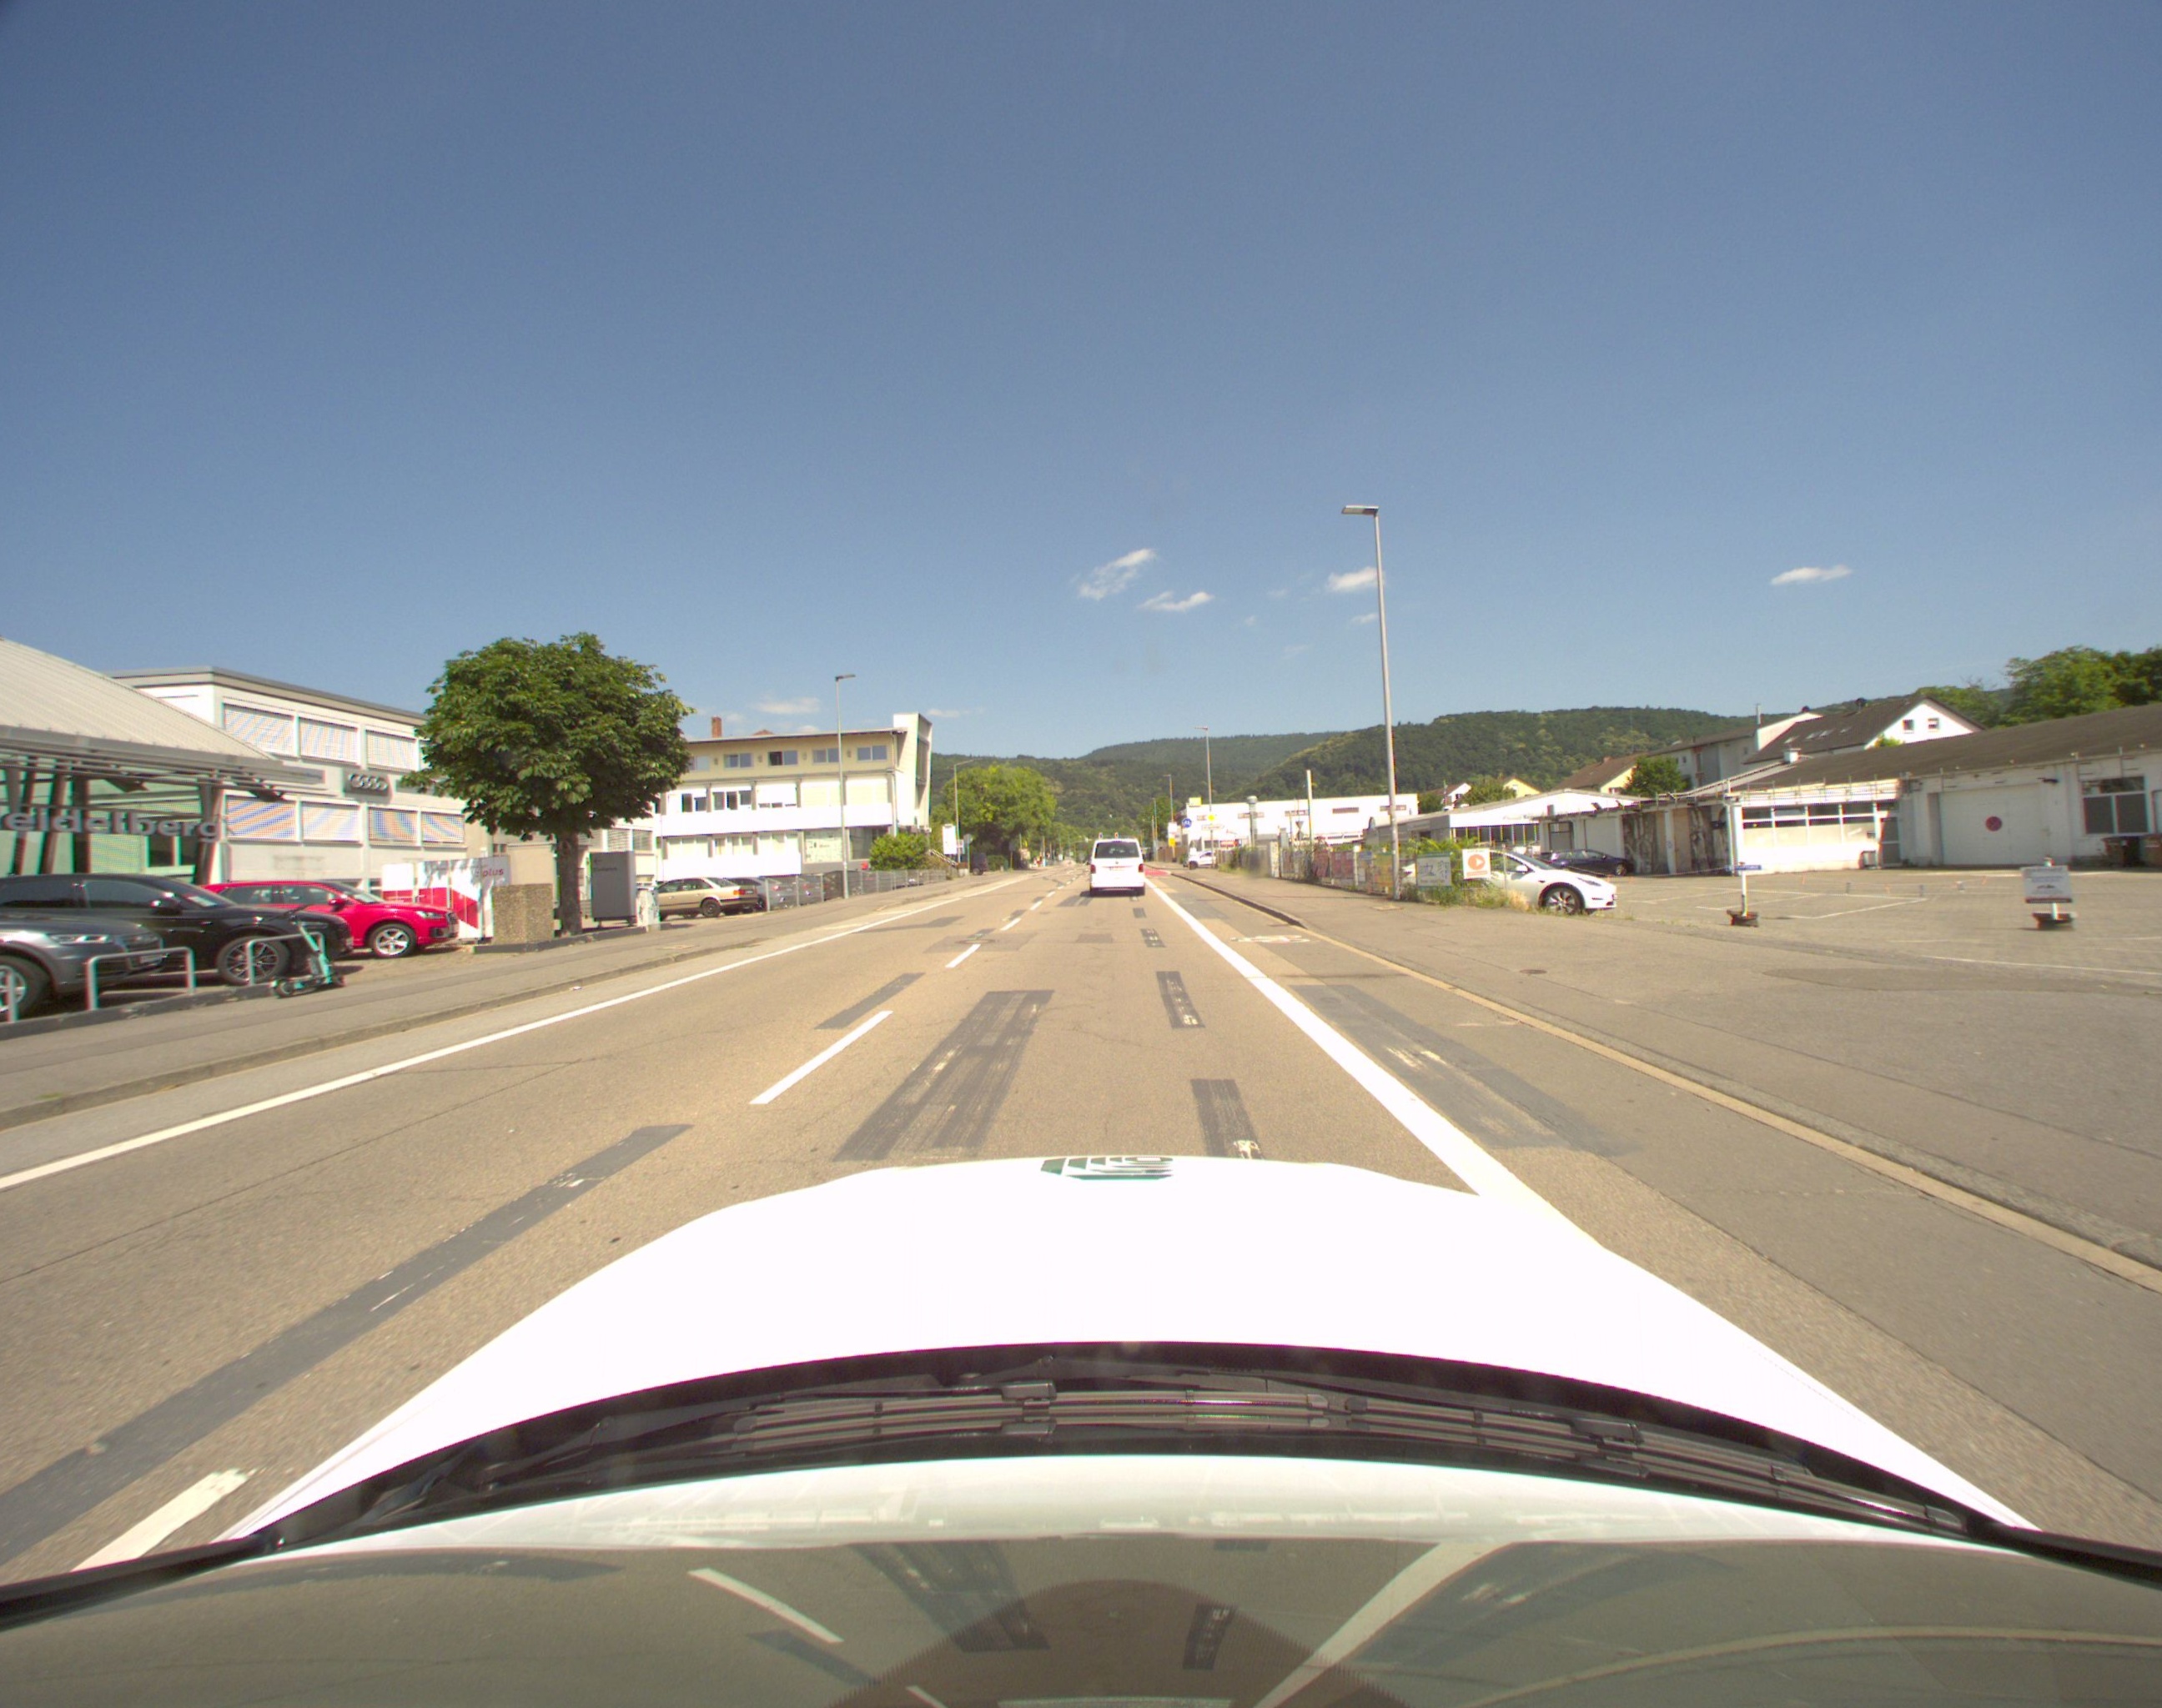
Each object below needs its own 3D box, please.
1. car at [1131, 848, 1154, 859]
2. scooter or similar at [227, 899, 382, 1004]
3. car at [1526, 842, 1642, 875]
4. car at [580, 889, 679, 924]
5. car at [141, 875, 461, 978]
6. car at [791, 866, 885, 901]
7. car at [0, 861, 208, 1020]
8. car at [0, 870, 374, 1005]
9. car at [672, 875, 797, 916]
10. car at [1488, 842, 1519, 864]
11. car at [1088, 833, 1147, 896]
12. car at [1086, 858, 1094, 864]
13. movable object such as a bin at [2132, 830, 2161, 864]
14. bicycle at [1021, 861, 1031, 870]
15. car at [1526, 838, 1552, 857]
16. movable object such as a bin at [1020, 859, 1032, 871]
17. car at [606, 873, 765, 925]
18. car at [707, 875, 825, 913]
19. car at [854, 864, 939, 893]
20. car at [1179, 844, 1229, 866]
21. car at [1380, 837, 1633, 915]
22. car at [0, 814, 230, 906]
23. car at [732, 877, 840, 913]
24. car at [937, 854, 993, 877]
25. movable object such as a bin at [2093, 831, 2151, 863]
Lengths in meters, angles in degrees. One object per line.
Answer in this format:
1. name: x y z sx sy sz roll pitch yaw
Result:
1. car: 11.200 -0.086 148.624 3.964 1.775 2.005 -4 -1 8
2. scooter or similar: -10.611 1.291 11.201 0.743 1.247 1.487 -2 0 -6
3. car: 24.598 0.205 39.957 4.308 1.398 2.122 -2 -1 5
4. car: -23.126 2.674 41.800 3.973 1.546 1.859 -2 0 0
5. car: -14.502 1.275 15.510 4.011 1.550 1.842 -2 0 -29
6. car: -12.771 1.522 42.930 4.285 1.558 1.994 -3 0 -2
7. car: -13.303 1.025 9.027 4.598 1.696 1.839 -2 0 -34
8. car: -13.717 1.145 12.194 4.498 1.708 1.890 -1 -1 -34
9. car: -13.007 1.578 30.789 3.880 1.445 1.821 1 -3 -2
10. car: 35.463 -0.099 68.348 1.974 1.647 4.026 -1 1 31
11. car: 1.231 0.367 29.244 1.928 2.060 4.544 0 0 1
12. car: 2.147 1.672 195.021 1.986 1.370 4.327 -3 -1 1
13. movable object such as a bin: 33.740 -0.218 25.410 0.744 1.036 0.875 -2 0 -3
14. bicycle: -6.688 1.389 98.695 1.023 1.118 2.765 0 -1 -1
15. car: 38.578 -0.537 68.607 1.771 1.464 3.848 -1 -1 31
16. movable object such as a bin: -7.288 1.467 108.186 1.446 1.590 1.304 -3 0 -7
17. car: -13.591 1.531 28.181 4.509 1.457 1.900 -3 0 0
18. car: -12.656 1.626 32.943 3.974 1.443 1.858 1 -3 -1
19. car: -11.503 1.533 50.944 4.723 1.481 2.048 -3 0 0
20. car: 9.471 0.088 62.708 3.648 1.484 1.730 -2 0 4
21. car: 10.040 0.586 19.537 4.984 1.622 2.035 -2 -5 44
22. car: -20.415 0.139 16.405 1.979 1.684 4.016 -3 0 15
23. car: -12.849 1.804 35.675 3.976 1.490 1.857 1 -3 -2
24. car: -10.051 0.993 70.695 4.556 1.865 2.090 -2 0 -3
25. movable object such as a bin: 33.740 -0.217 26.399 0.744 0.992 0.875 -2 0 -3
